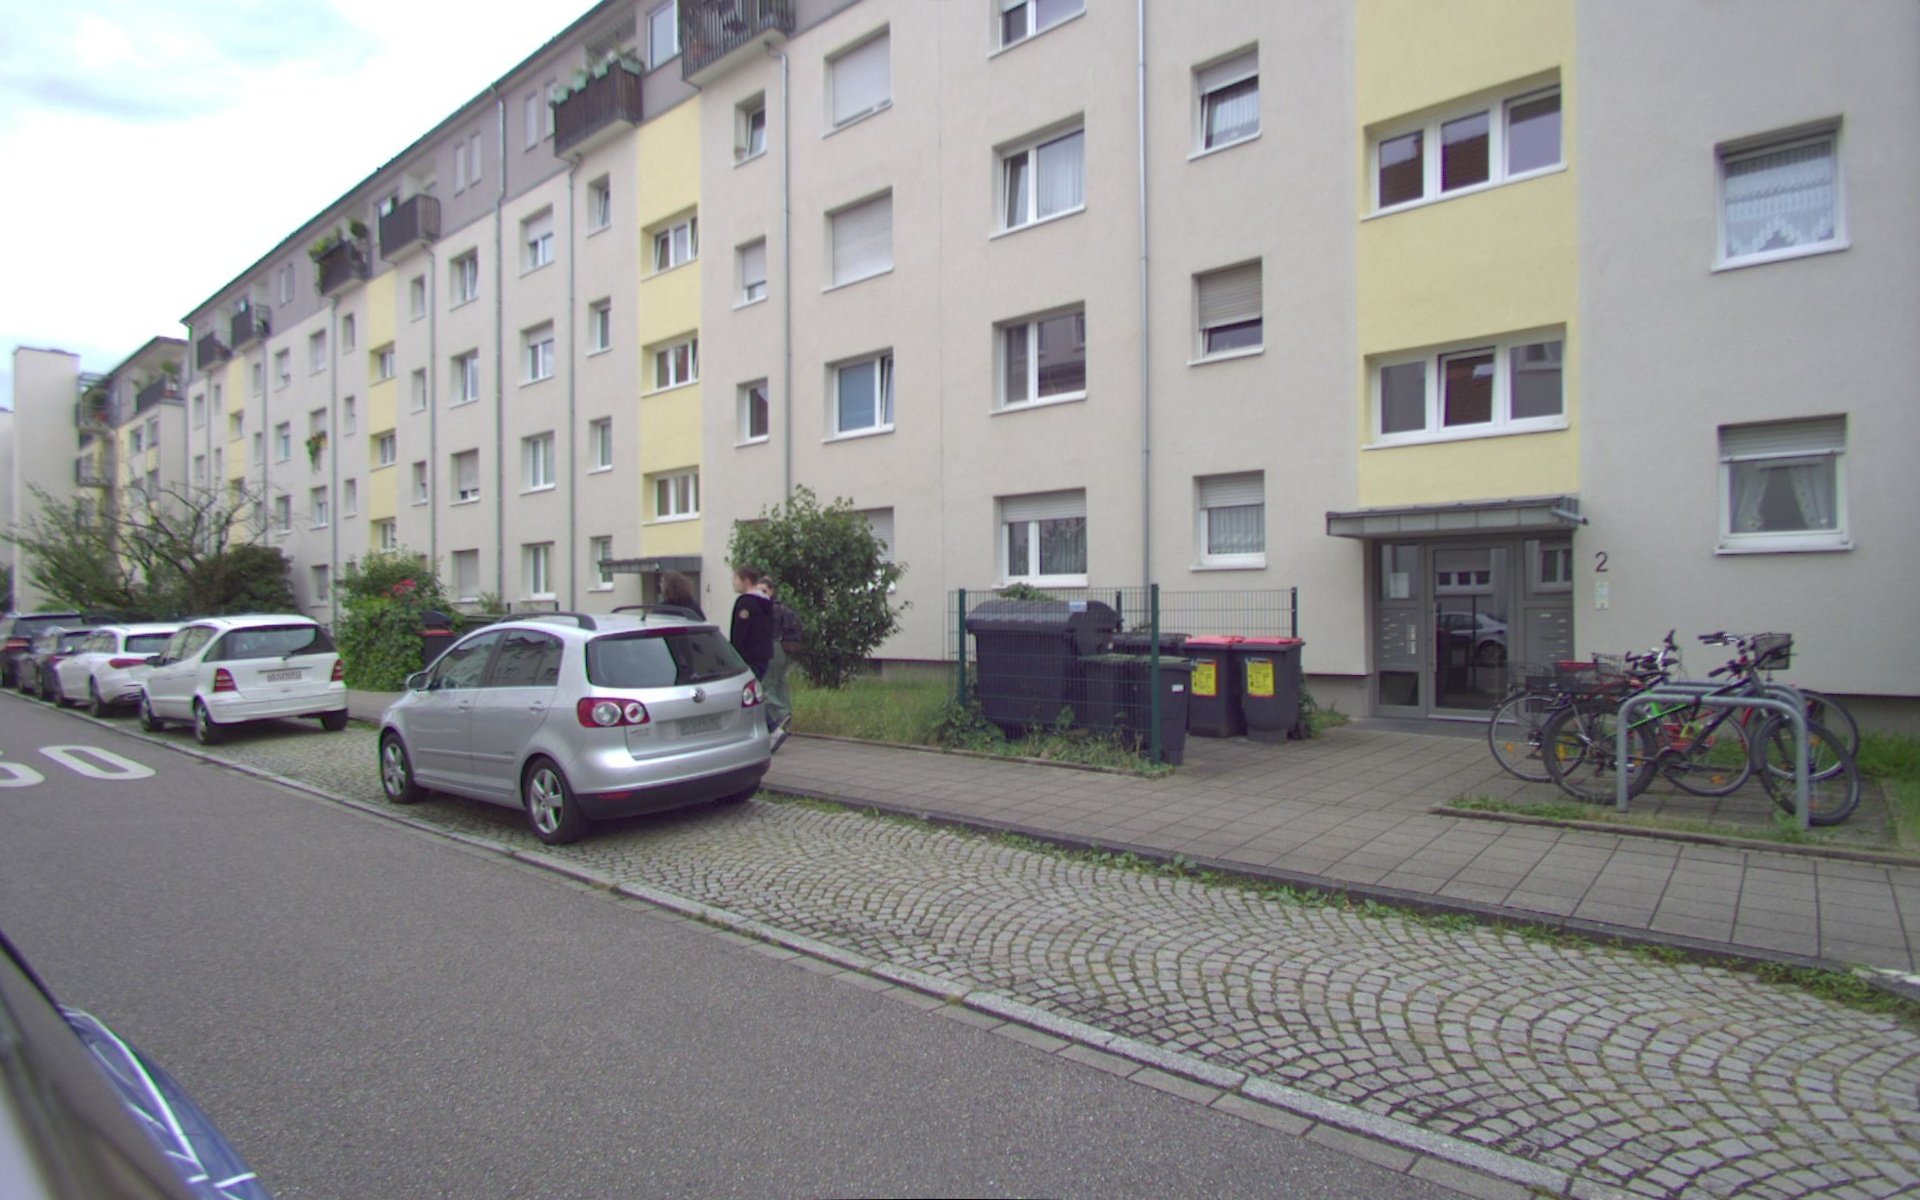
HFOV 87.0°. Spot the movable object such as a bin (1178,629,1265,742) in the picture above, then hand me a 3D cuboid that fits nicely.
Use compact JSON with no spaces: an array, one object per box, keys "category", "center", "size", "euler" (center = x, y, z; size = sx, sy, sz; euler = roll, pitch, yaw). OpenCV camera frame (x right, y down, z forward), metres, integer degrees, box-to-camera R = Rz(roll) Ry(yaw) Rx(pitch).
[{"category":"movable object such as a bin","center":[2.794,0.880,10.777],"size":[0.597,1.125,0.834],"euler":[-2,-2,38]}]

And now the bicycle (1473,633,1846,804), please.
[{"category":"bicycle","center":[5.062,0.794,7.461],"size":[2.174,1.079,0.651],"euler":[-2,-2,41]}]

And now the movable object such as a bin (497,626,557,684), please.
[{"category":"movable object such as a bin","center":[-8.856,1.111,20.690],"size":[0.786,1.117,0.861],"euler":[0,0,36]}]

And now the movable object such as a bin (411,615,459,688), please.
[{"category":"movable object such as a bin","center":[-10.286,0.991,19.845],"size":[0.586,1.378,0.651],"euler":[0,0,36]}]

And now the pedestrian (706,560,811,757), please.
[{"category":"pedestrian","center":[-2.011,0.560,10.113],"size":[0.762,1.868,0.699],"euler":[-2,-1,40]}]

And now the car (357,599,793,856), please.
[{"category":"car","center":[-3.274,0.839,8.233],"size":[3.913,1.562,1.637],"euler":[-2,0,41]}]

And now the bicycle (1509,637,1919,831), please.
[{"category":"bicycle","center":[4.867,0.790,6.630],"size":[2.121,1.076,0.650],"euler":[-2,-2,41]}]

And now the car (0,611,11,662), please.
[{"category":"car","center":[-35.809,1.351,36.589],"size":[3.537,1.820,1.686],"euler":[-2,-2,38]}]

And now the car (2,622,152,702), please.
[{"category":"car","center":[-18.374,1.208,20.990],"size":[4.480,1.464,1.707],"euler":[-1,-1,40]}]

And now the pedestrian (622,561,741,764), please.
[{"category":"pedestrian","center":[-2.731,0.583,9.913],"size":[0.973,1.877,0.633],"euler":[-2,0,40]}]

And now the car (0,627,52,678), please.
[{"category":"car","center":[-27.944,1.523,29.541],"size":[3.537,1.407,1.556],"euler":[-2,-2,38]}]

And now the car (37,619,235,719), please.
[{"category":"car","center":[-14.432,1.135,17.631],"size":[4.681,1.521,1.702],"euler":[-2,-2,38]}]

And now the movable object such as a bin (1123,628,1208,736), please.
[{"category":"movable object such as a bin","center":[2.277,0.880,11.193],"size":[0.597,1.125,0.834],"euler":[-2,-2,38]}]

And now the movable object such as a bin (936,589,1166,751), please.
[{"category":"movable object such as a bin","center":[0.909,0.636,10.059],"size":[1.670,1.432,1.573],"euler":[-2,-1,39]}]

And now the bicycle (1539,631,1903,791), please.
[{"category":"bicycle","center":[5.819,0.793,7.878],"size":[2.174,1.079,0.651],"euler":[-2,-2,41]}]

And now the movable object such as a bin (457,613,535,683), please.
[{"category":"movable object such as a bin","center":[-9.754,0.978,21.282],"size":[1.187,1.385,1.047],"euler":[0,0,35]}]

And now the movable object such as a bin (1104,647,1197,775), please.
[{"category":"movable object such as a bin","center":[1.655,0.936,8.796],"size":[0.597,1.041,0.531],"euler":[-2,-2,39]}]

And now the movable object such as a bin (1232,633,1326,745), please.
[{"category":"movable object such as a bin","center":[3.260,0.879,10.315],"size":[0.633,1.059,0.855],"euler":[-2,-2,39]}]

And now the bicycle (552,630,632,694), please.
[{"category":"bicycle","center":[-6.293,1.038,17.253],"size":[1.753,1.032,0.473],"euler":[-2,-1,40]}]

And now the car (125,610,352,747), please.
[{"category":"car","center":[-10.098,0.989,14.089],"size":[3.723,1.651,1.668],"euler":[-1,-1,39]}]

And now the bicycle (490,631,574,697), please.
[{"category":"bicycle","center":[-7.054,1.026,16.635],"size":[1.877,1.032,0.483],"euler":[-2,-1,41]}]

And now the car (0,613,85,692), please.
[{"category":"car","center":[-22.986,1.252,24.869],"size":[4.448,1.793,1.555],"euler":[-2,-2,40]}]

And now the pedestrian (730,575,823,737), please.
[{"category":"pedestrian","center":[-1.981,0.588,10.922],"size":[0.802,1.669,0.608],"euler":[-2,-1,40]}]
